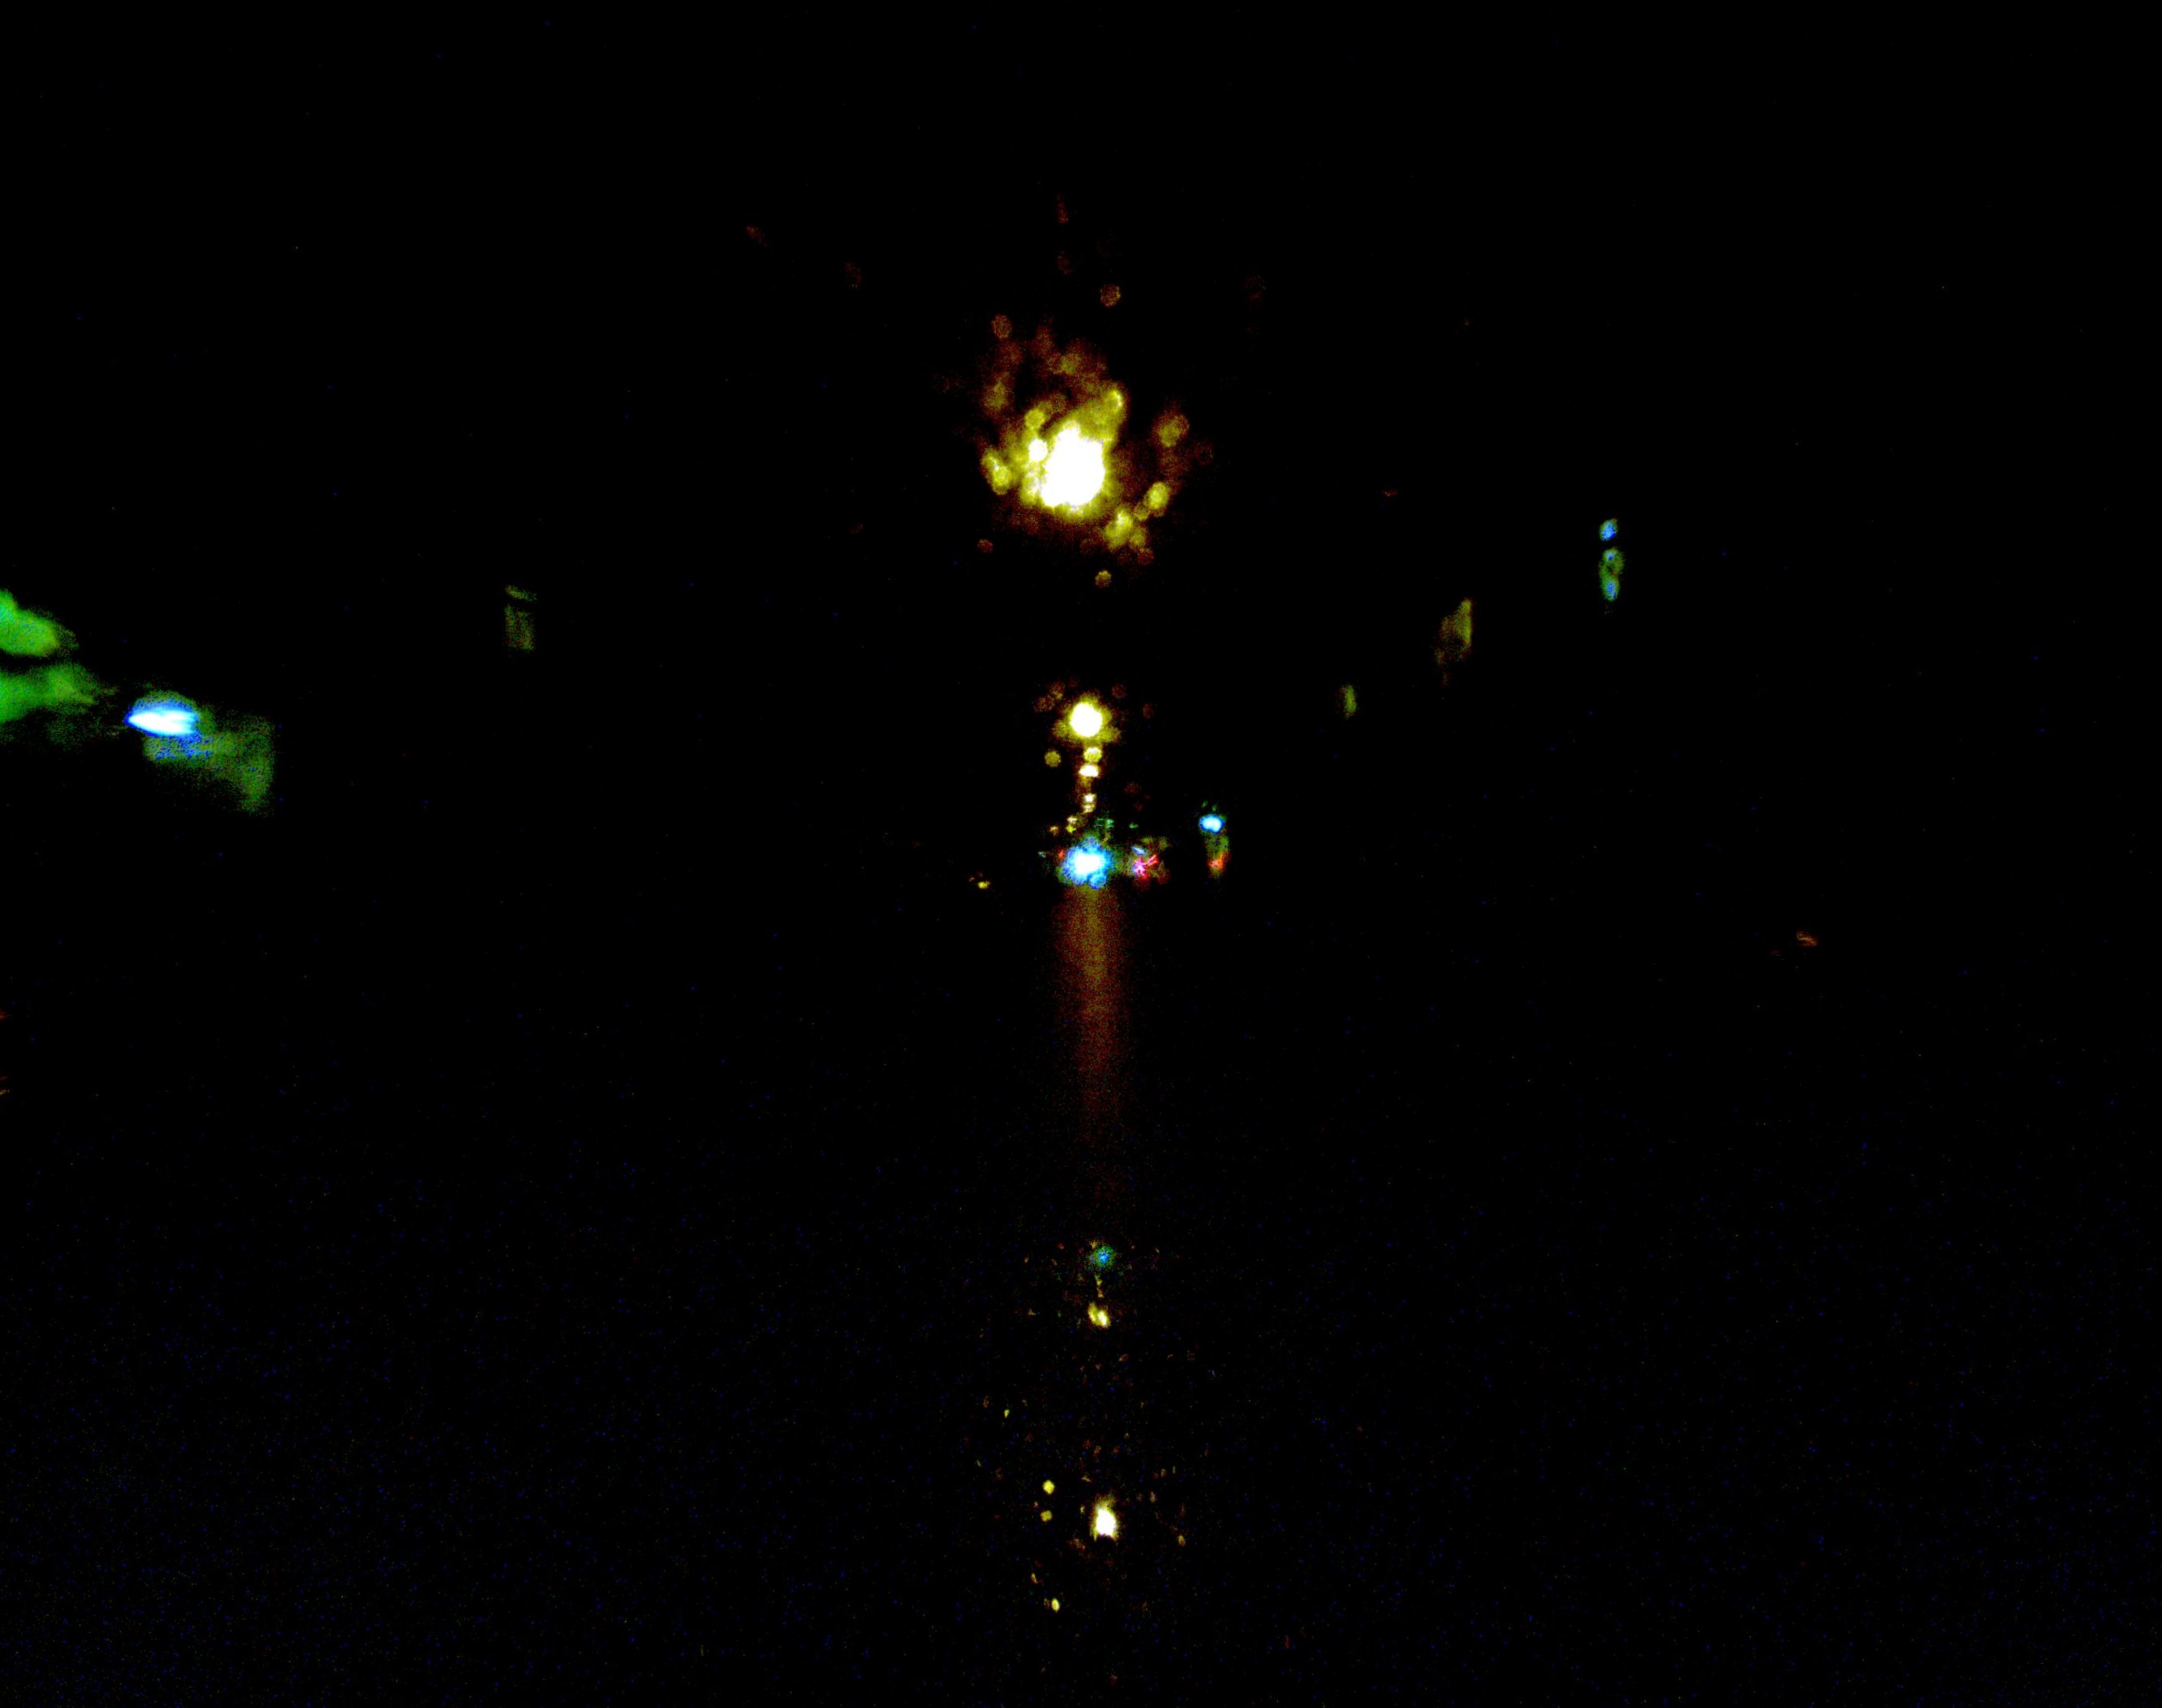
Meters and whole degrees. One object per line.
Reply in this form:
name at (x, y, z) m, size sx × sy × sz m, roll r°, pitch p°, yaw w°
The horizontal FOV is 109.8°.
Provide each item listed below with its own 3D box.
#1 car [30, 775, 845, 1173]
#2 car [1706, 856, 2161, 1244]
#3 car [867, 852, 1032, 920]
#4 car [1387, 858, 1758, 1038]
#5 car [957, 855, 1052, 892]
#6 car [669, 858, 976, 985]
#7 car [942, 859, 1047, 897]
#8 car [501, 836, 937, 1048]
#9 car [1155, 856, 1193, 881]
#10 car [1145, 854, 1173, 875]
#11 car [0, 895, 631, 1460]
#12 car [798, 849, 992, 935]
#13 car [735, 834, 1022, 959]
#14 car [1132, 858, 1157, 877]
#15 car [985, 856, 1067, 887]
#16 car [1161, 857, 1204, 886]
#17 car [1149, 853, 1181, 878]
car at (-3.991, 0.622, 5.548) m, size 3.942 × 1.931 × 1.738 m, roll 2°, pitch 0°, yaw -36°
car at (5.005, 0.753, 2.899) m, size 1.721 × 1.470 × 4.159 m, roll -1°, pitch 0°, yaw -2°
car at (-3.415, 0.820, 19.699) m, size 3.938 × 1.610 × 1.707 m, roll 2°, pitch 0°, yaw -21°
car at (4.893, 0.808, 8.290) m, size 1.720 × 1.470 × 3.786 m, roll -2°, pitch 0°, yaw 3°
car at (-3.485, 0.898, 34.578) m, size 3.939 × 1.553 × 1.707 m, roll 2°, pitch 0°, yaw -22°
car at (-3.739, 0.893, 11.191) m, size 3.942 × 1.541 × 1.739 m, roll 2°, pitch 0°, yaw -33°
car at (-3.544, 0.980, 31.154) m, size 3.939 × 1.455 × 1.707 m, roll 2°, pitch 0°, yaw -22°
car at (-3.770, 0.778, 8.242) m, size 3.942 × 1.782 × 1.738 m, roll 2°, pitch 0°, yaw -36°
car at (5.708, 0.868, 46.971) m, size 1.851 × 1.470 × 3.735 m, roll -2°, pitch 0°, yaw 1°
car at (6.038, 0.816, 59.238) m, size 1.851 × 1.571 × 3.735 m, roll -2°, pitch 0°, yaw 1°
car at (-3.884, 0.946, 2.474) m, size 4.065 × 1.444 × 1.674 m, roll 0°, pitch 0°, yaw -34°
car at (-4.125, 0.820, 16.774) m, size 3.938 × 1.732 × 1.707 m, roll 2°, pitch 0°, yaw -21°
car at (-3.666, 0.725, 13.948) m, size 4.720 × 1.968 × 1.975 m, roll 2°, pitch 0°, yaw -28°
car at (5.518, 1.142, 65.920) m, size 1.851 × 1.571 × 3.735 m, roll -2°, pitch 0°, yaw 1°
car at (-2.914, 0.919, 40.268) m, size 3.939 × 1.553 × 1.707 m, roll 2°, pitch 0°, yaw -22°
car at (5.477, 0.906, 41.304) m, size 1.851 × 1.470 × 3.735 m, roll -2°, pitch 0°, yaw 1°
car at (5.814, 0.782, 52.984) m, size 1.851 × 1.571 × 3.735 m, roll -2°, pitch 0°, yaw 1°
